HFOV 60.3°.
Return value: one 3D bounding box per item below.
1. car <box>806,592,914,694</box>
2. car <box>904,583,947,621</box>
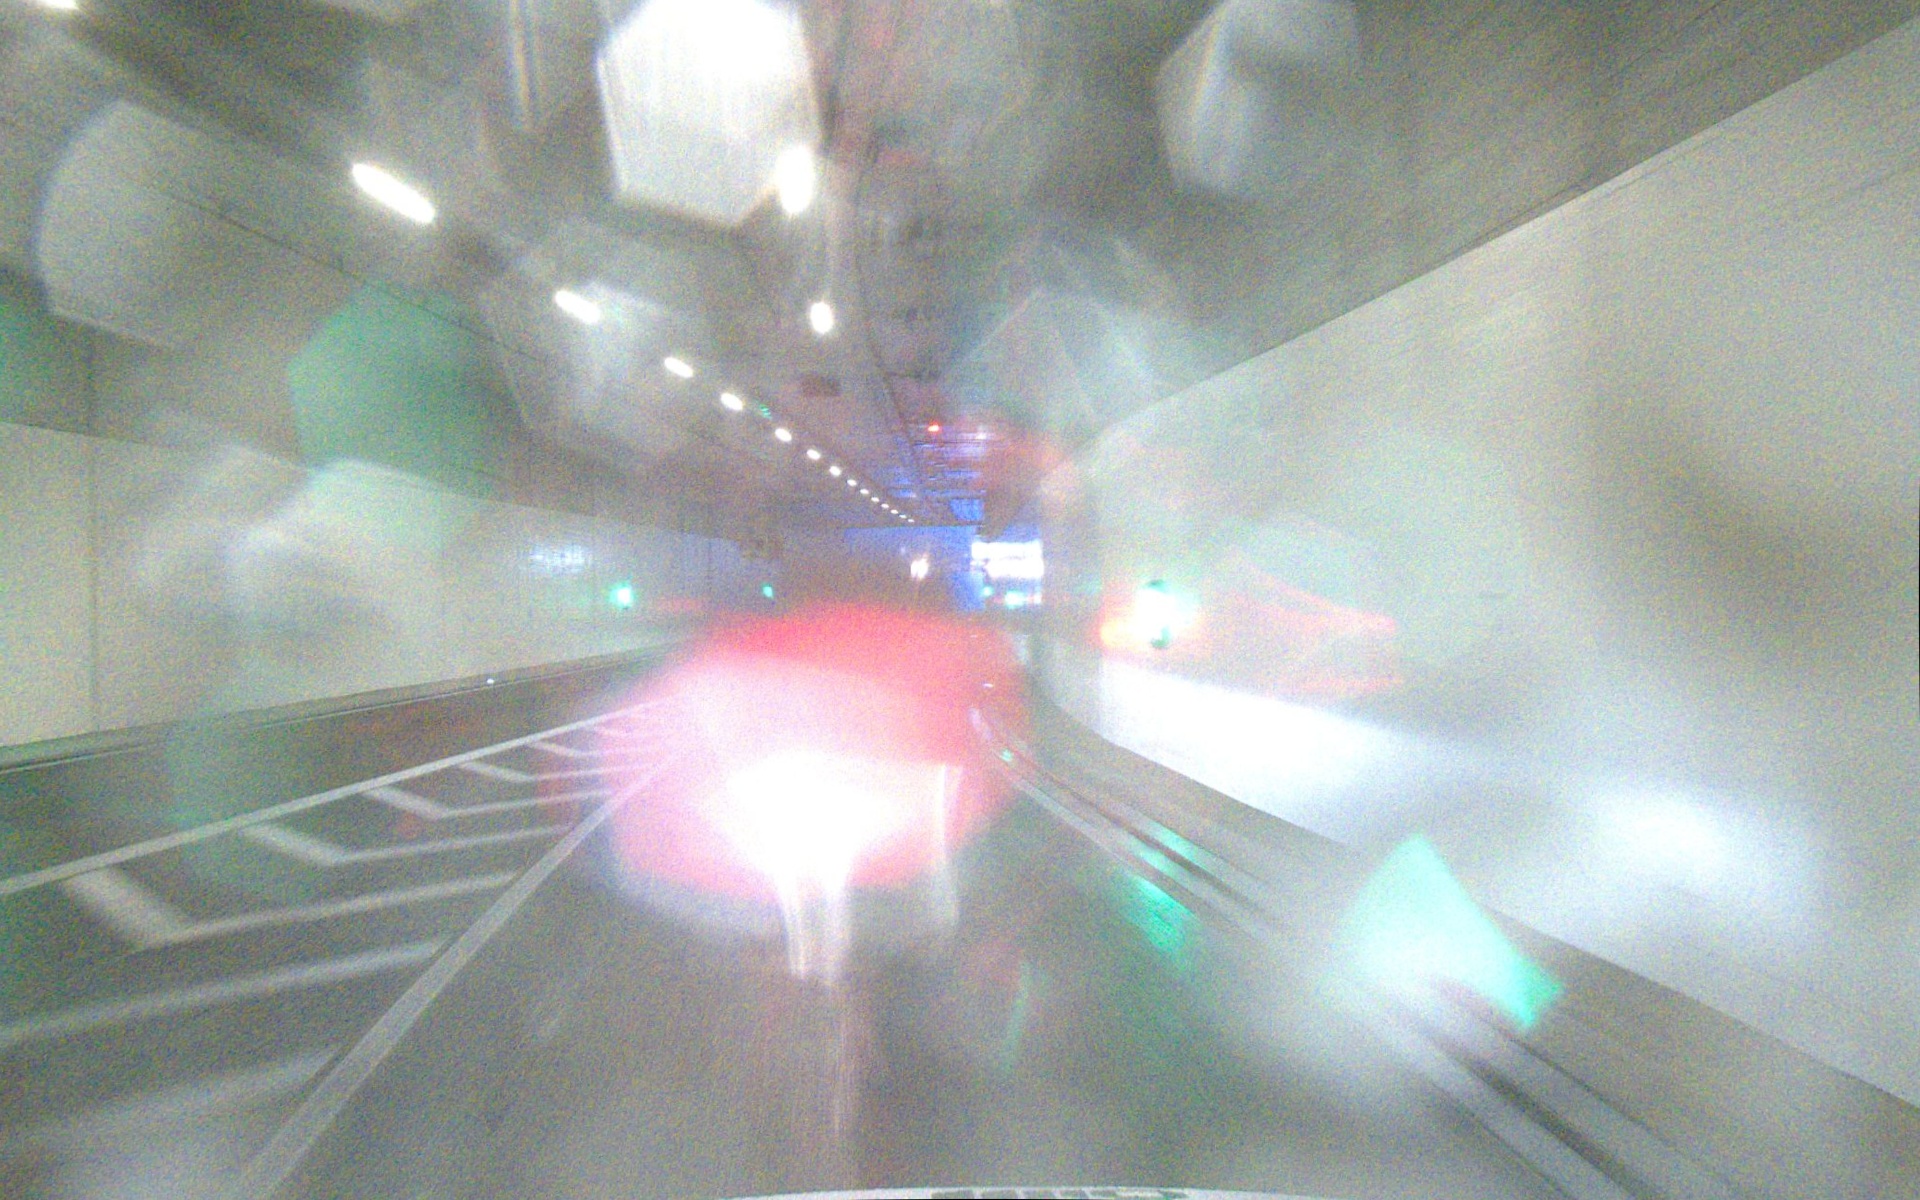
[{"bbox_3d":[-1.457,0.605,24.796,1.501,1.422,3.432,0,0,-2],"label":"car"},{"bbox_3d":[-1.562,0.110,76.660,1.841,1.649,4.000,0,-1,1],"label":"car"}]
